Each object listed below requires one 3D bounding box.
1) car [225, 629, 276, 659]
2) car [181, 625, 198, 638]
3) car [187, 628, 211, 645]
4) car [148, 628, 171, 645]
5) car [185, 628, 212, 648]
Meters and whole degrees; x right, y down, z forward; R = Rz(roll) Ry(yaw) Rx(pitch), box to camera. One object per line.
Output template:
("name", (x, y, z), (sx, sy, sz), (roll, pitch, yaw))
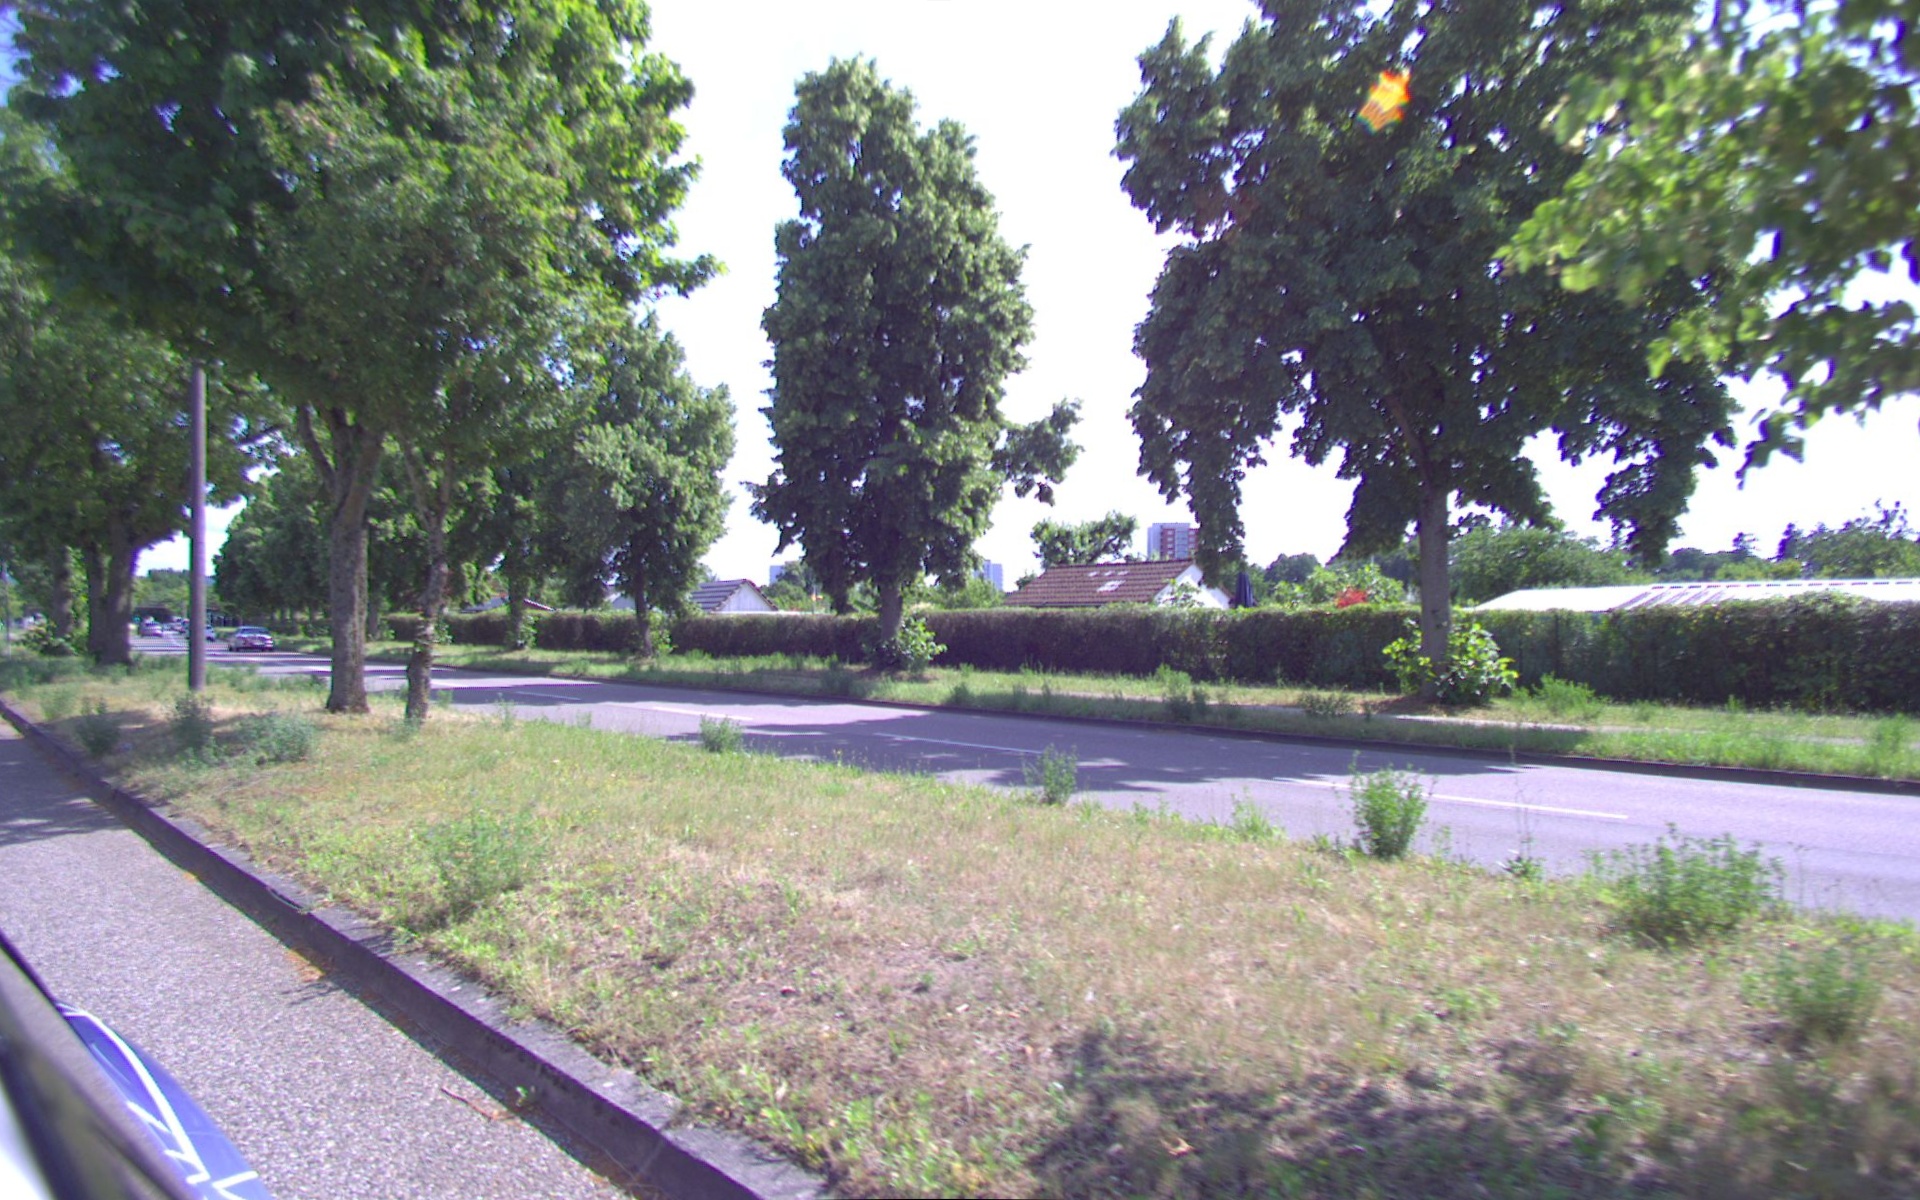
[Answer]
("car", (-38.442, 2.372, 54.804), (1.715, 1.598, 4.117), (3, -3, -42))
("car", (-97.192, 3.969, 127.650), (1.714, 1.598, 4.120), (3, -3, -38))
("car", (-72.120, 3.450, 95.899), (1.714, 1.598, 4.120), (3, -3, -38))
("car", (-80.749, 3.685, 102.079), (1.714, 1.598, 4.120), (3, -3, -38))
("car", (-63.027, 3.128, 83.757), (1.714, 1.598, 4.120), (3, -3, -38))
